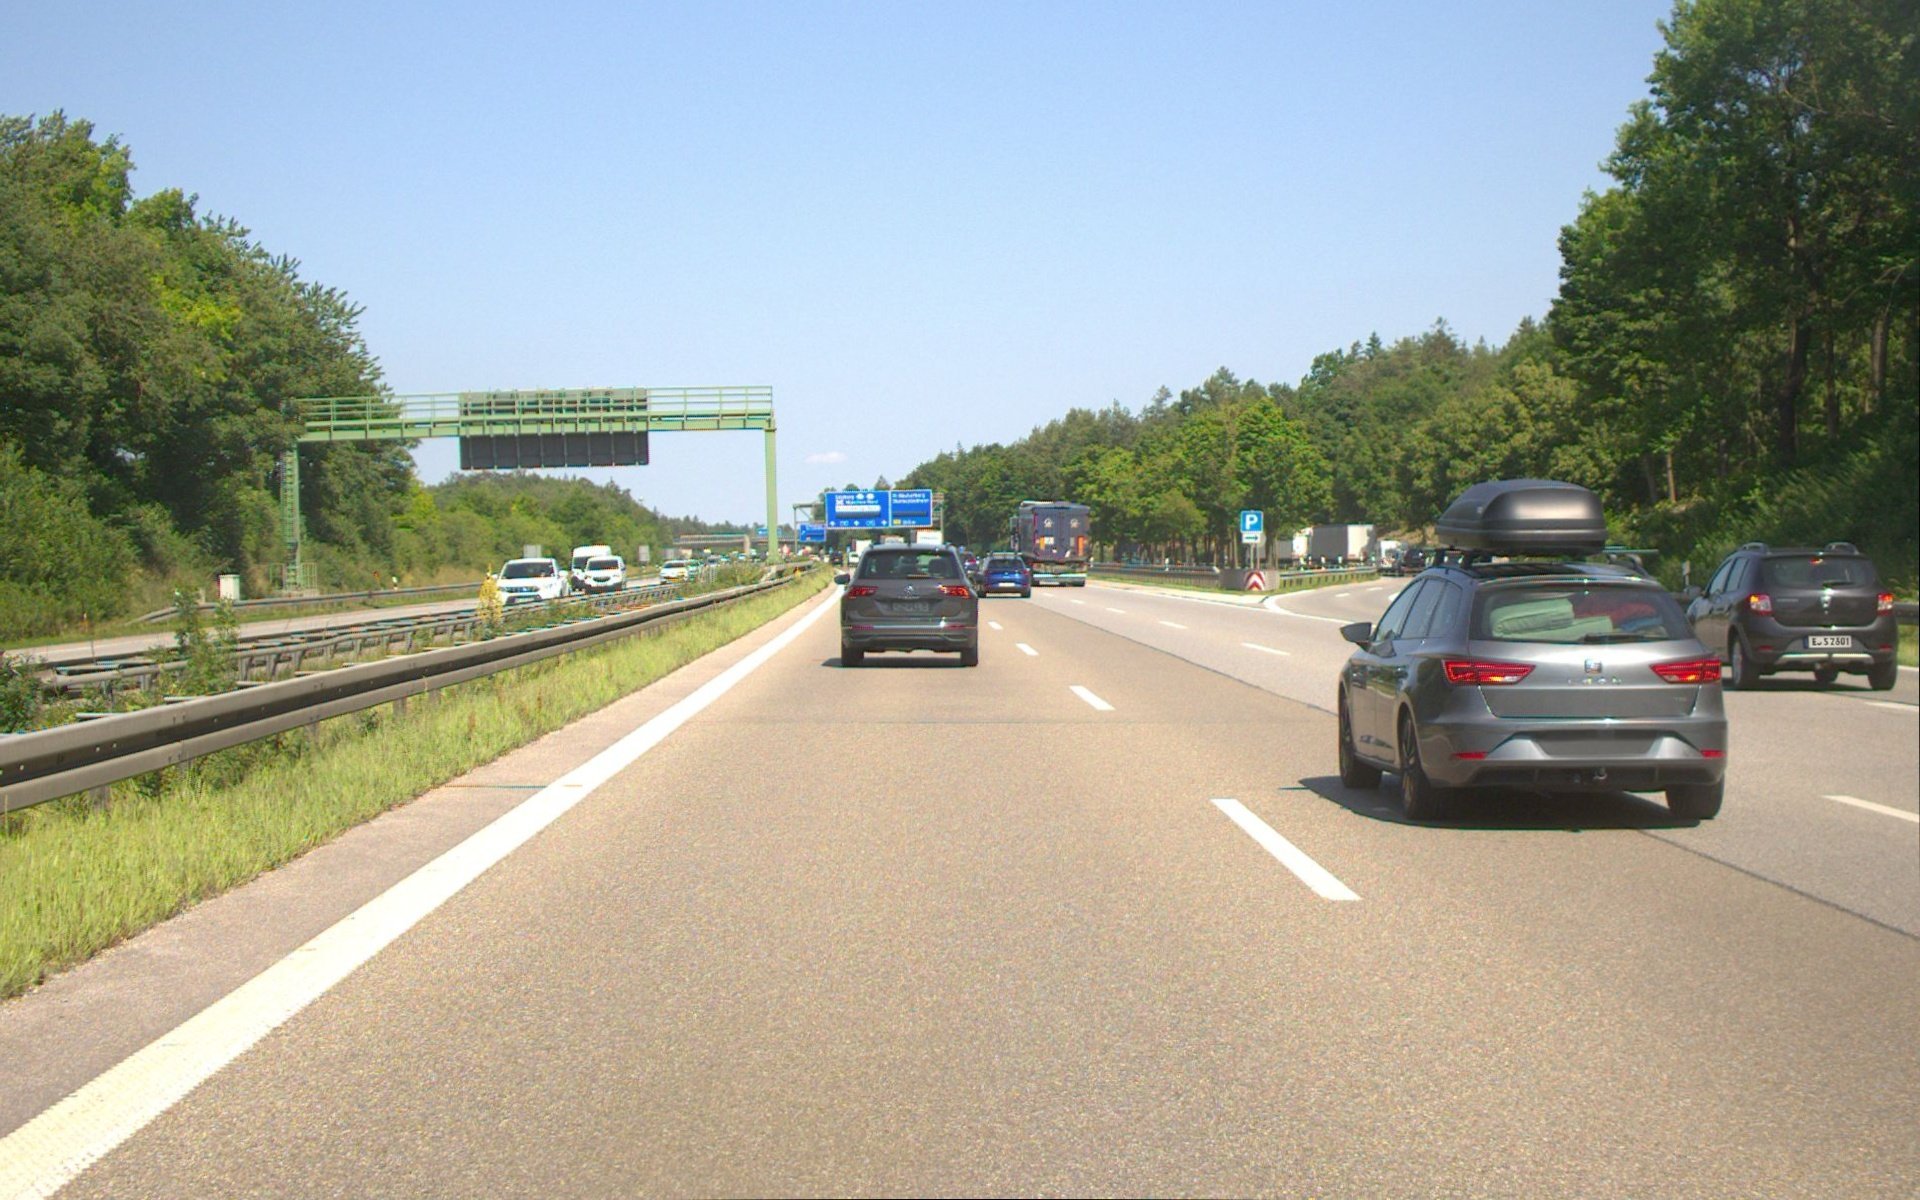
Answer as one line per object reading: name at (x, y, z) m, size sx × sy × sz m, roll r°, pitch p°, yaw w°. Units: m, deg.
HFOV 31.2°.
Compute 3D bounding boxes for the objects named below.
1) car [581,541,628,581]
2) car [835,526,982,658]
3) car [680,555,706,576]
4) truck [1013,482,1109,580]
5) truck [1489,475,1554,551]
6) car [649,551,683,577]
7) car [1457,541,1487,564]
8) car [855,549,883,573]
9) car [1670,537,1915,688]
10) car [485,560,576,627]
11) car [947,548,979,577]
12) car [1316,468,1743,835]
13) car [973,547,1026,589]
car at (-16.923, -1.879, 163.698) m, size 1.746 × 1.824 × 5.169 m, roll -2°, pitch 1°, yaw -1°
car at (-0.645, -0.147, 46.197) m, size 1.799 × 1.663 × 4.258 m, roll 1°, pitch 1°, yaw 1°
car at (-19.888, -2.563, 255.917) m, size 1.665 × 1.459 × 3.883 m, roll -3°, pitch 1°, yaw -1°
truck at (4.665, -3.224, 162.231) m, size 3.780 × 4.407 × 14.052 m, roll 0°, pitch 1°, yaw -1°
truck at (30.367, -4.683, 185.833) m, size 3.286 × 3.933 × 9.347 m, roll -1°, pitch 1°, yaw 10°
car at (-19.398, -2.387, 227.046) m, size 1.878 × 1.605 × 5.310 m, roll -2°, pitch 1°, yaw -1°
car at (36.925, -3.428, 248.057) m, size 1.994 × 1.568 × 3.999 m, roll -1°, pitch 1°, yaw 7°
car at (-4.818, -2.079, 182.731) m, size 1.471 × 1.223 × 3.411 m, roll -1°, pitch 1°, yaw -1°
car at (9.236, 0.095, 38.442) m, size 1.765 × 1.563 × 4.258 m, roll 1°, pitch 1°, yaw 1°
car at (-11.211, -0.194, 89.901) m, size 1.812 × 1.611 × 3.914 m, roll -3°, pitch 1°, yaw 0°
car at (0.141, -1.899, 174.569) m, size 1.471 × 1.393 × 3.411 m, roll 2°, pitch 1°, yaw -1°
car at (3.216, 0.216, 20.316) m, size 1.665 × 1.870 × 4.827 m, roll -2°, pitch 1°, yaw 0°
car at (1.370, -1.096, 117.775) m, size 1.765 × 1.377 × 4.258 m, roll 1°, pitch 1°, yaw 1°
